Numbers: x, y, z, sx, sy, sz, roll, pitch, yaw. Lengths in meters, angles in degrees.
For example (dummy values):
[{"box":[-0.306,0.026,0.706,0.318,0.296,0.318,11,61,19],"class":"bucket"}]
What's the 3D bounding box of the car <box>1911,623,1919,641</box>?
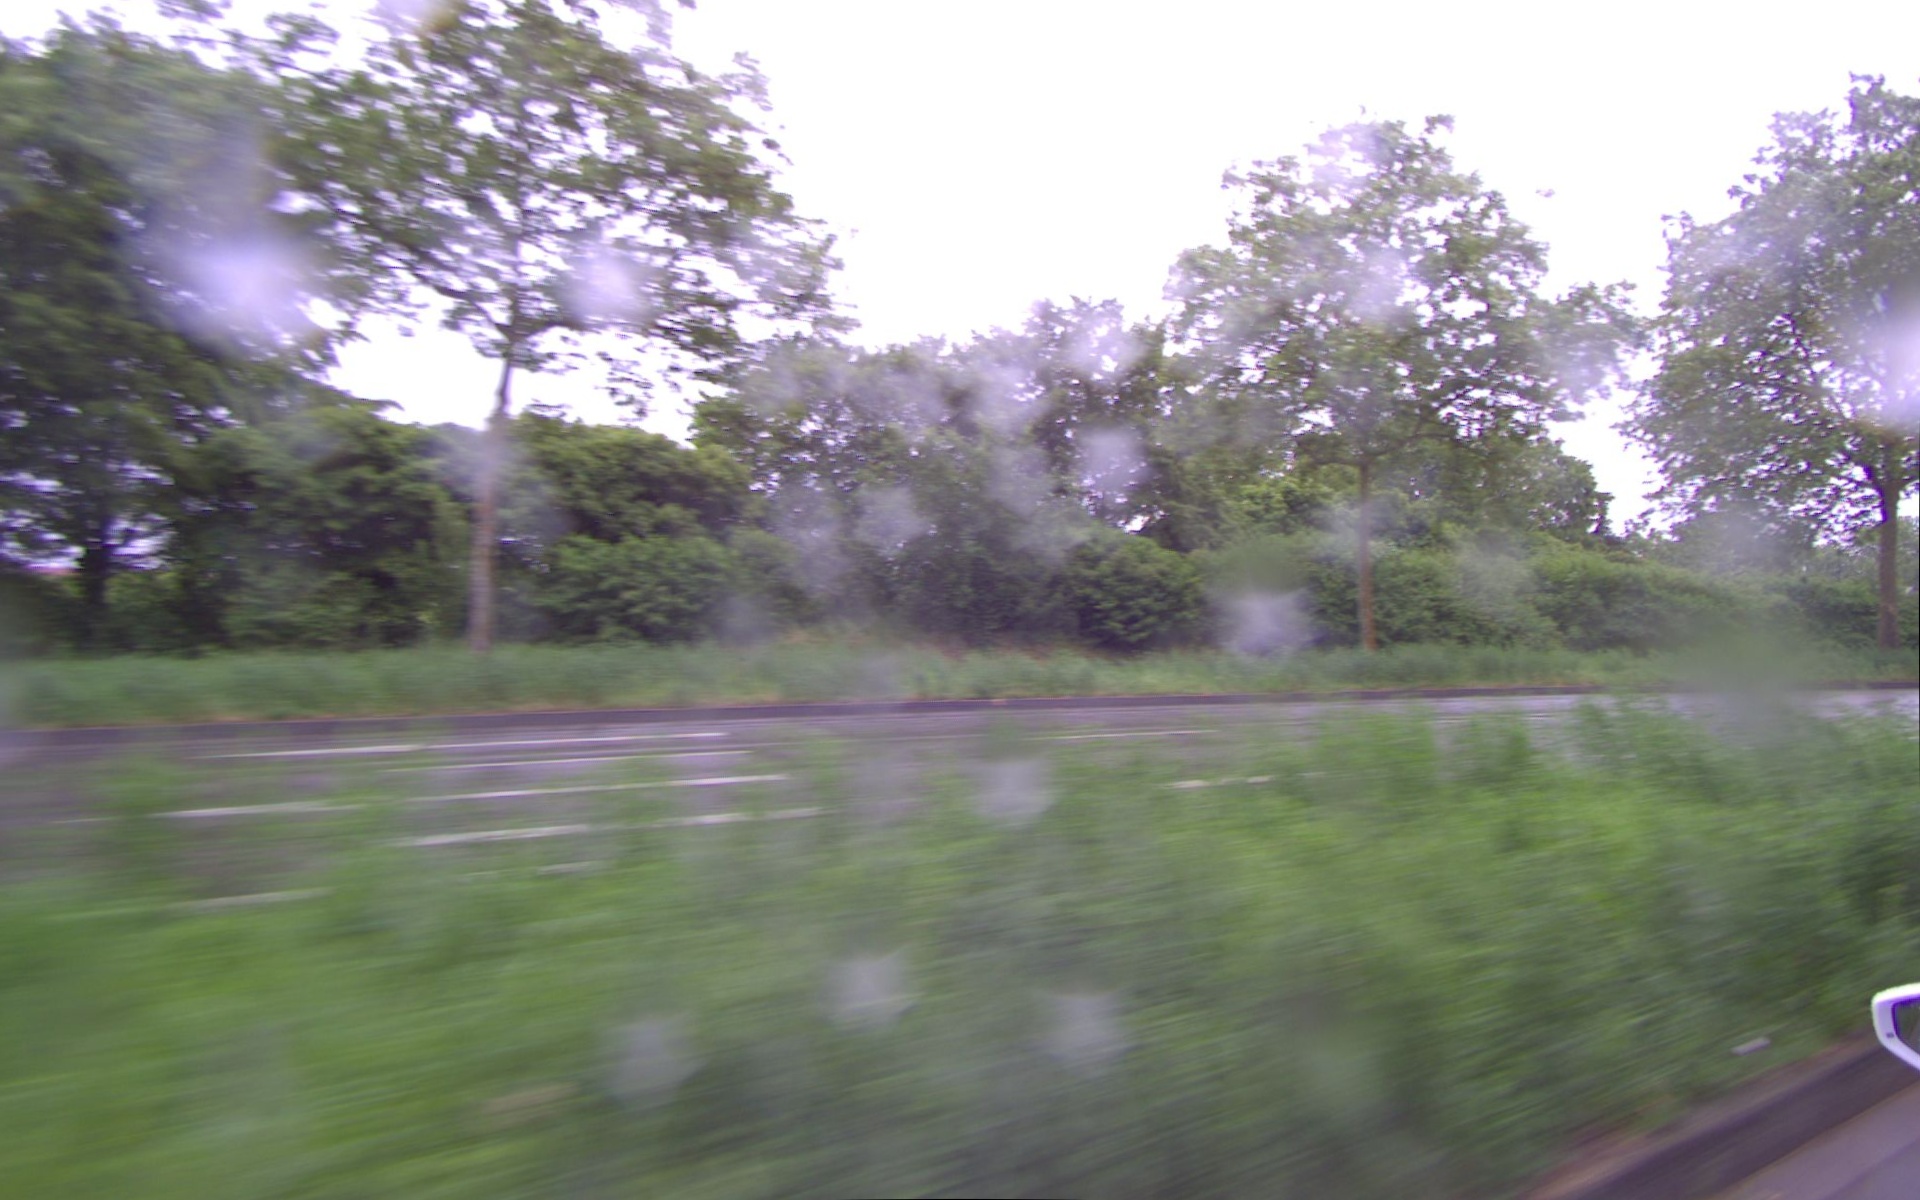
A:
[{"box":[83.744,2.776,85.545,1.576,1.514,3.751,1,-1,-24],"class":"car"}]
